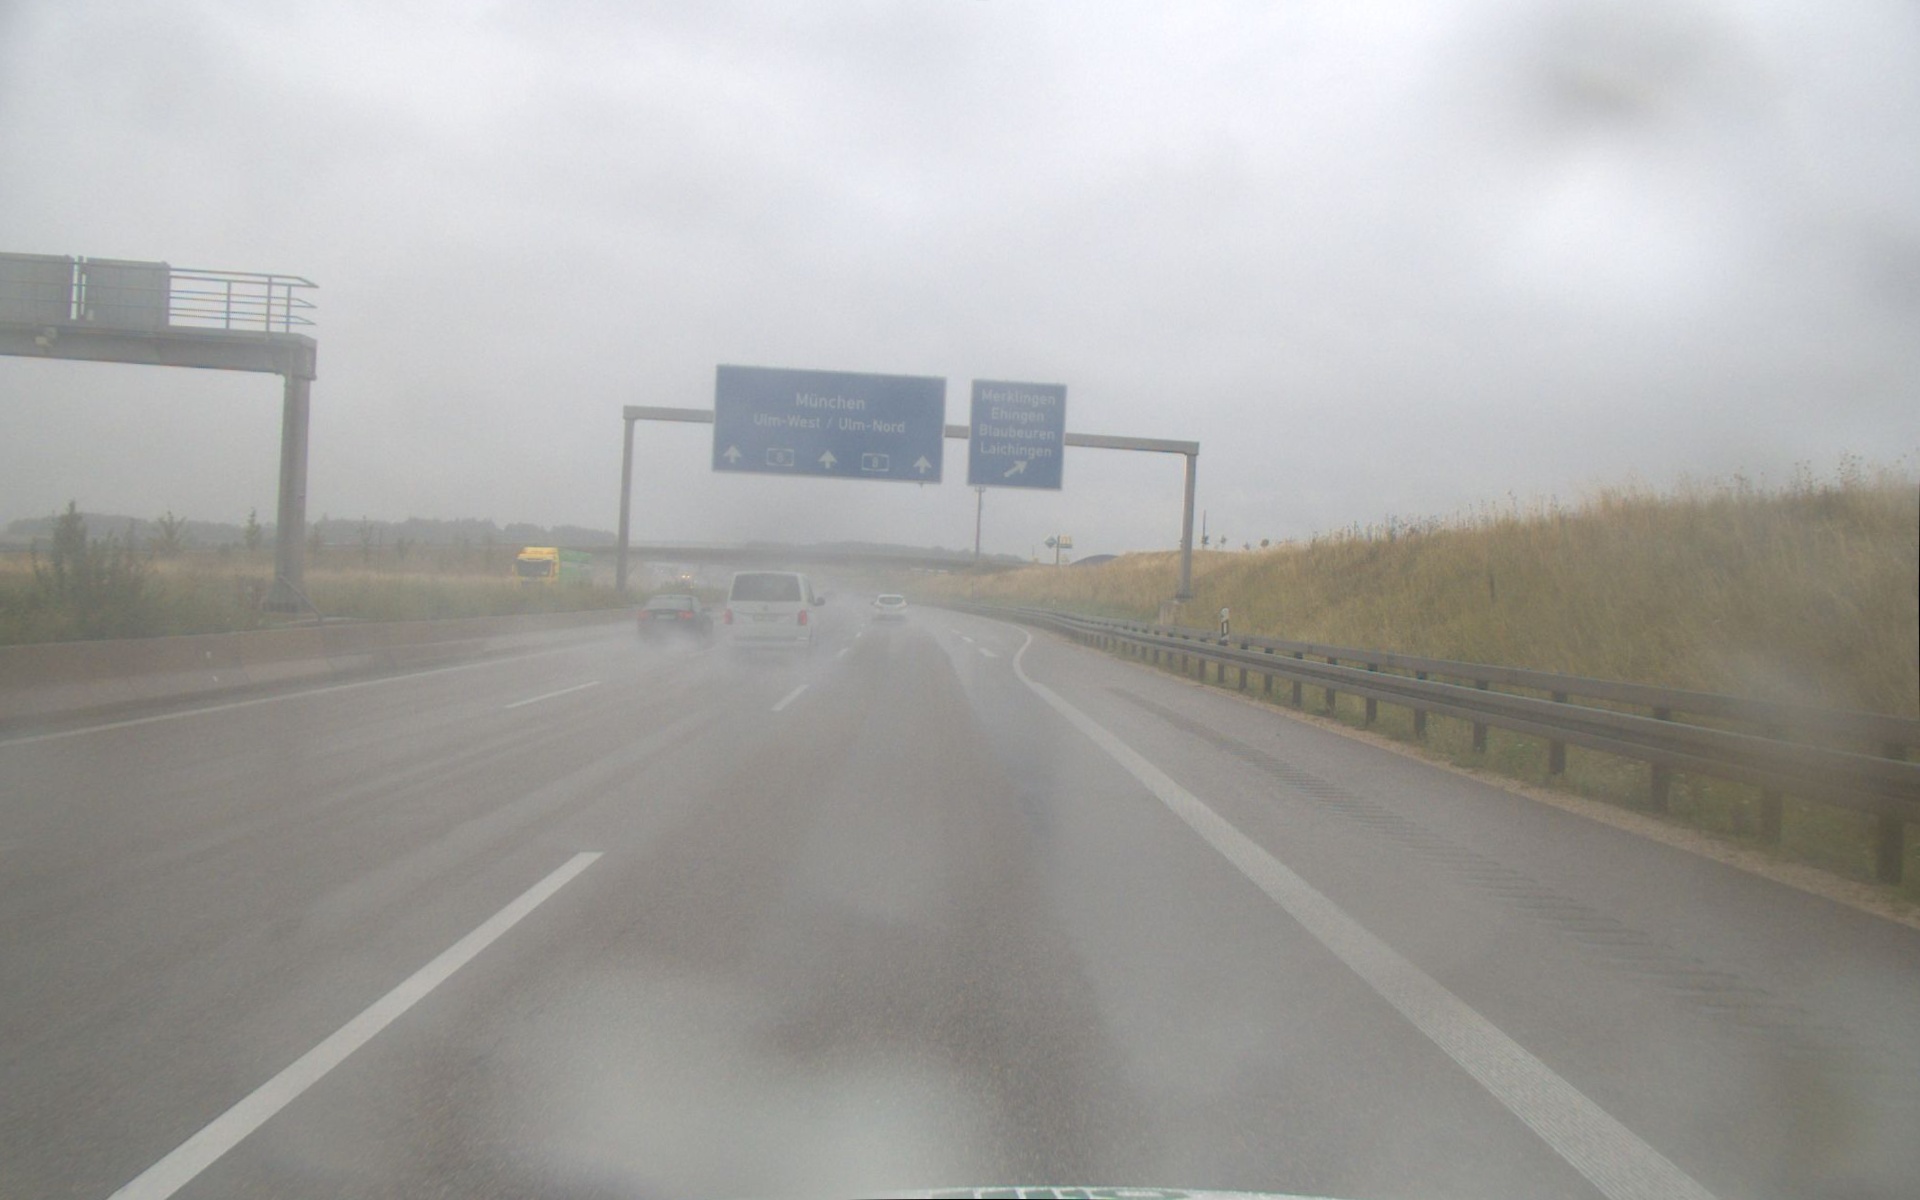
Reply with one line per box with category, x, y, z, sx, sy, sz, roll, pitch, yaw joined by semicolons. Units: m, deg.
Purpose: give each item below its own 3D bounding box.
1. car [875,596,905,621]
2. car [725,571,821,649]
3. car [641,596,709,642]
car;-3.417;0.407;81.312;1.438;1.229;2.990;1;0;-2
car;-4.119;0.208;36.948;1.859;1.613;3.998;1;0;-3
car;-8.167;0.527;47.590;1.438;1.279;3.339;1;0;-2
